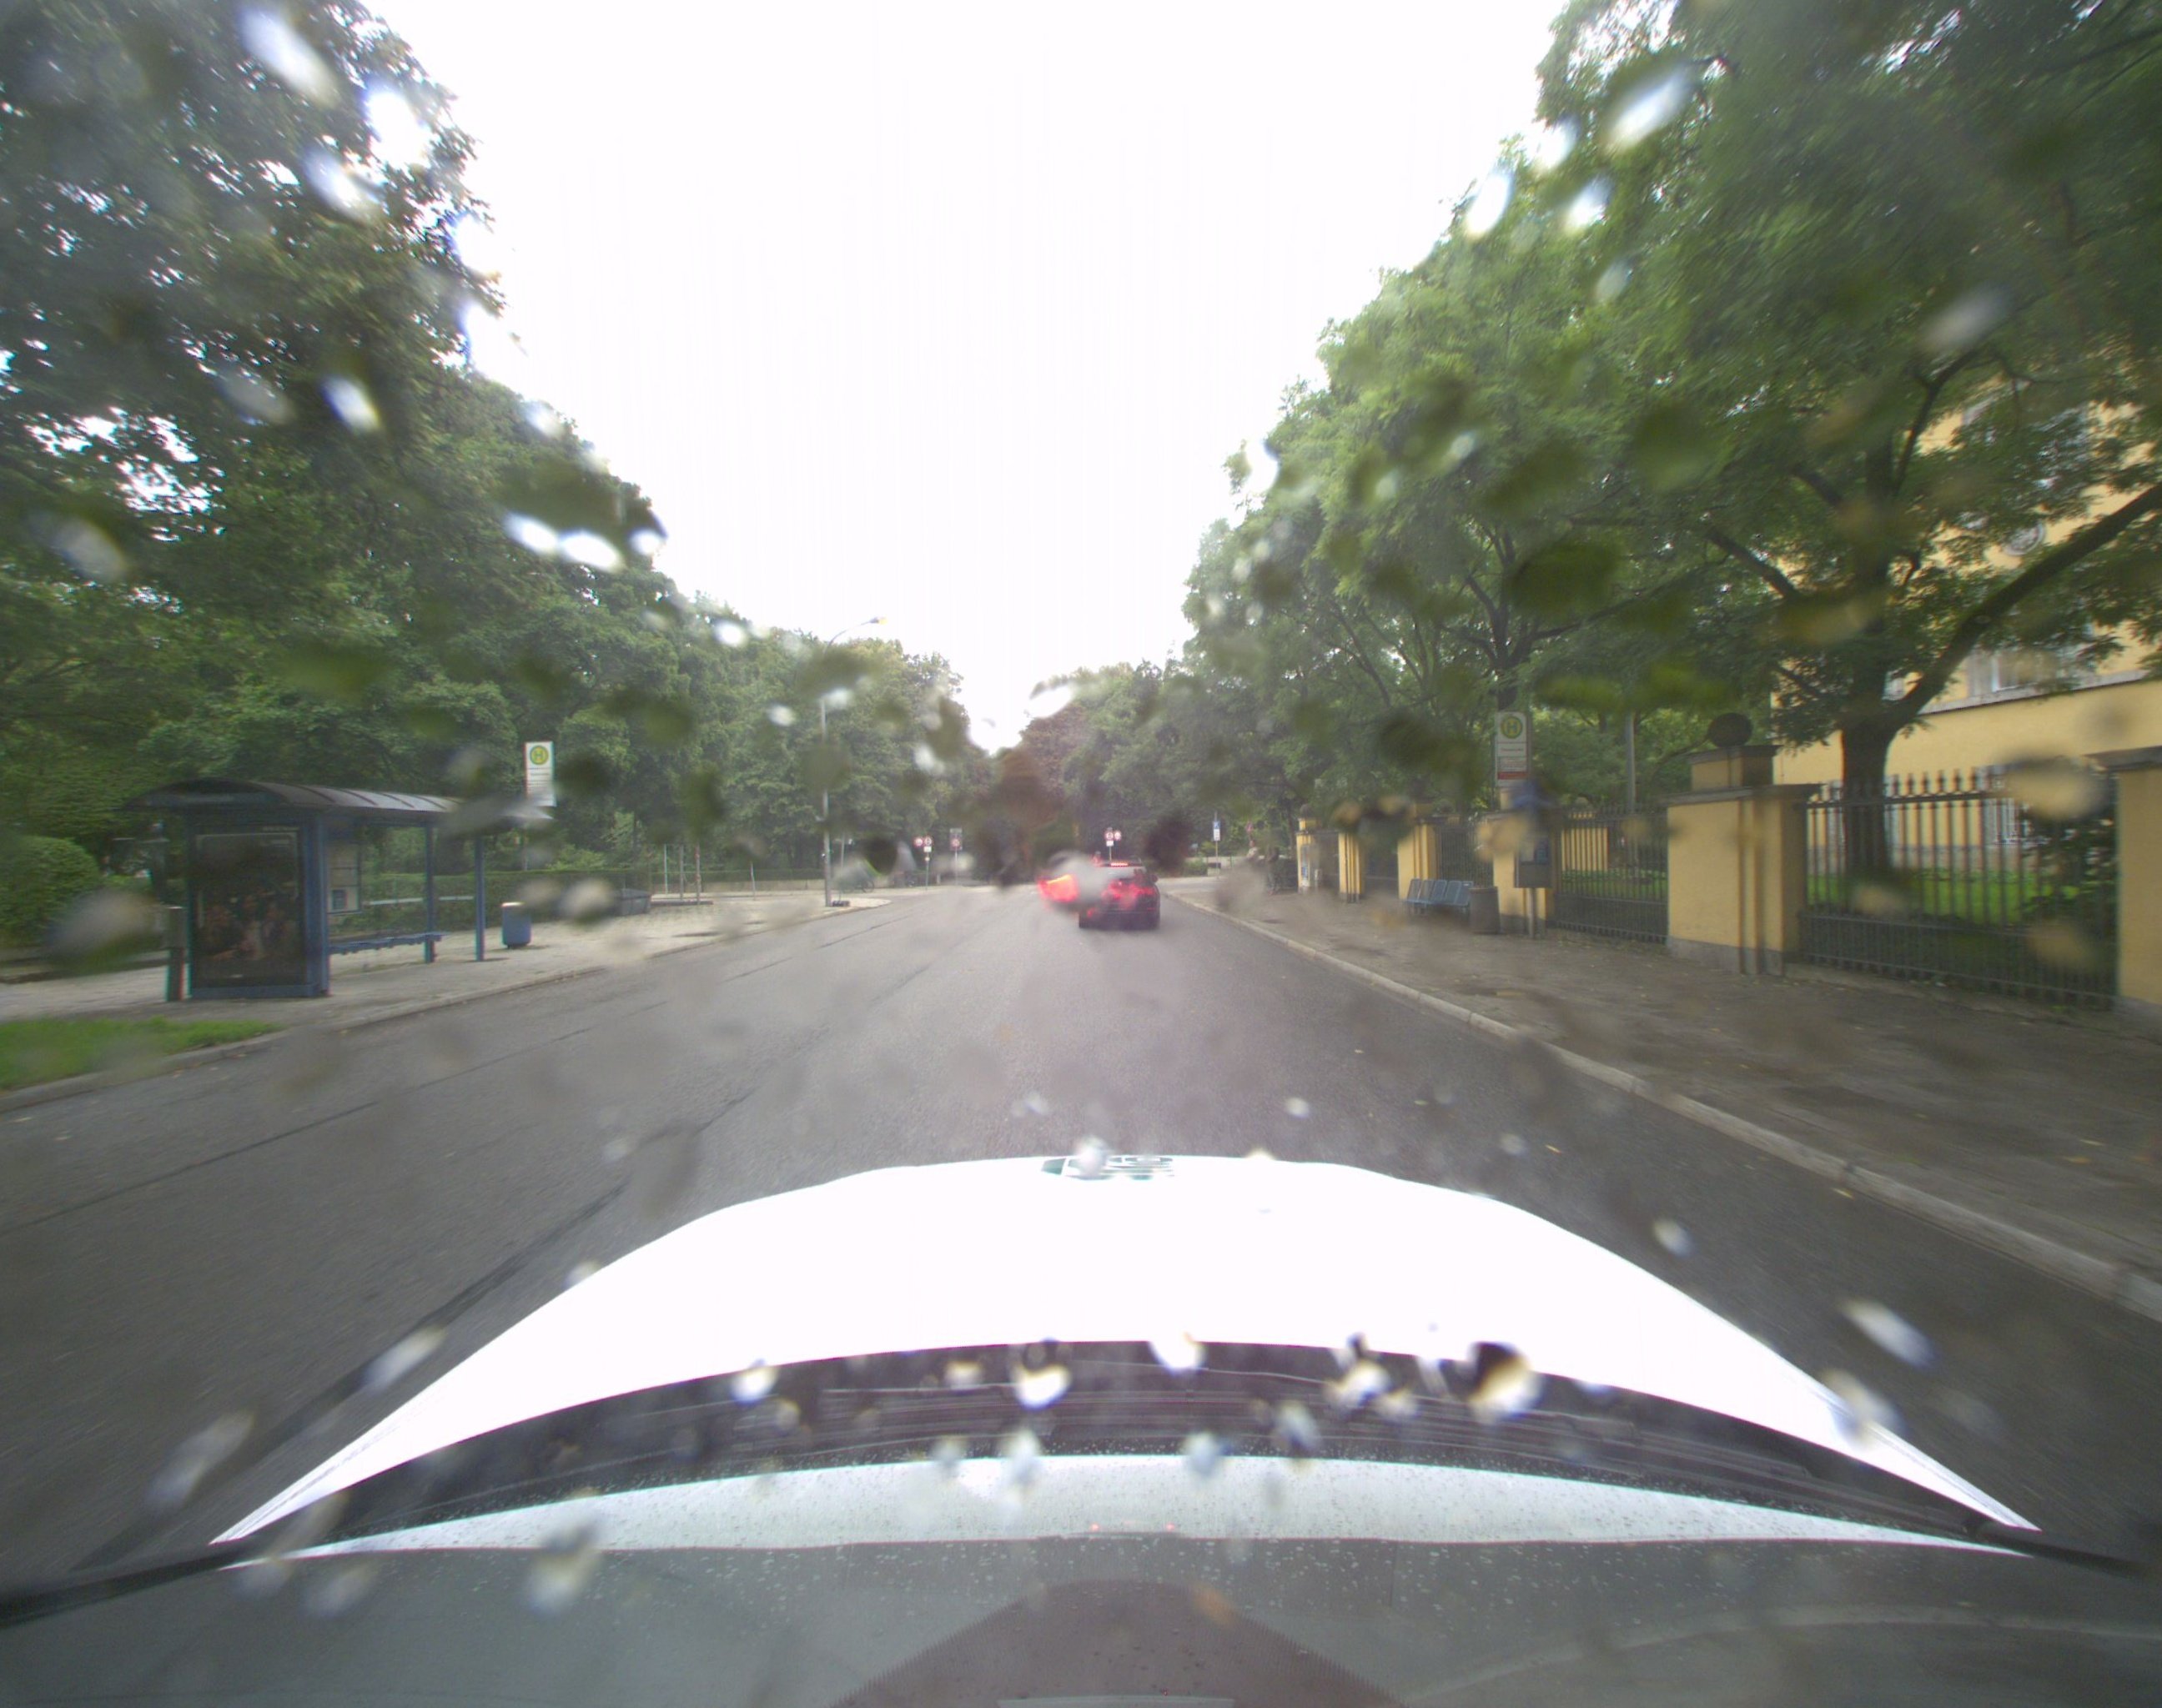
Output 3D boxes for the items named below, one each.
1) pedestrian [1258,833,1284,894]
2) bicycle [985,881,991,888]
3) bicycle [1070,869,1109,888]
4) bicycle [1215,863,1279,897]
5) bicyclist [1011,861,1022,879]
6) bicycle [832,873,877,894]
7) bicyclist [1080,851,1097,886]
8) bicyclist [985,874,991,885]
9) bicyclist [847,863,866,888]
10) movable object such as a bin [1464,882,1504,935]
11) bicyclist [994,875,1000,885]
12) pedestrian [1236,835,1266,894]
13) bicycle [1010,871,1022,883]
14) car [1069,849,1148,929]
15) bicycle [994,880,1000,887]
[{"bbox_3d":[6.092,0.304,26.151,0.541,1.918,0.491,-4,-1,-8],"label":"pedestrian"},{"bbox_3d":[-12.993,4.270,113.869,0.679,0.830,2.102,-2,-1,-10],"label":"bicycle"},{"bbox_3d":[0.406,1.111,37.045,1.756,0.797,0.571,-1,-1,1],"label":"bicycle"},{"bbox_3d":[5.426,0.831,26.661,1.904,0.949,0.581,-4,-1,-8],"label":"bicycle"},{"bbox_3d":[-4.655,1.170,58.538,0.678,1.282,0.599,-2,0,0],"label":"bicyclist"},{"bbox_3d":[-11.649,1.523,41.860,2.115,0.991,0.675,-1,-1,-28],"label":"bicycle"},{"bbox_3d":[0.347,0.668,37.059,0.748,1.585,0.656,-2,-1,1],"label":"bicyclist"},{"bbox_3d":[-13.024,3.543,114.072,0.681,1.504,0.898,-2,0,-10],"label":"bicyclist"},{"bbox_3d":[-11.555,1.102,41.884,0.856,1.257,0.520,-1,-2,-27],"label":"bicyclist"},{"bbox_3d":[6.356,0.854,12.861,0.395,0.780,0.465,-2,0,1],"label":"movable object such as a bin"},{"bbox_3d":[-10.444,3.269,101.722,0.679,1.187,0.480,-2,0,-5],"label":"bicyclist"},{"bbox_3d":[5.698,0.349,27.324,0.674,1.918,0.639,-4,-1,-8],"label":"pedestrian"},{"bbox_3d":[-4.631,1.656,58.439,0.677,0.830,2.109,-2,-1,0],"label":"bicycle"},{"bbox_3d":[0.629,0.728,18.565,1.571,1.584,4.046,-2,-1,2],"label":"car"},{"bbox_3d":[-10.431,3.644,101.700,0.678,0.830,2.106,-2,-1,-5],"label":"bicycle"}]
